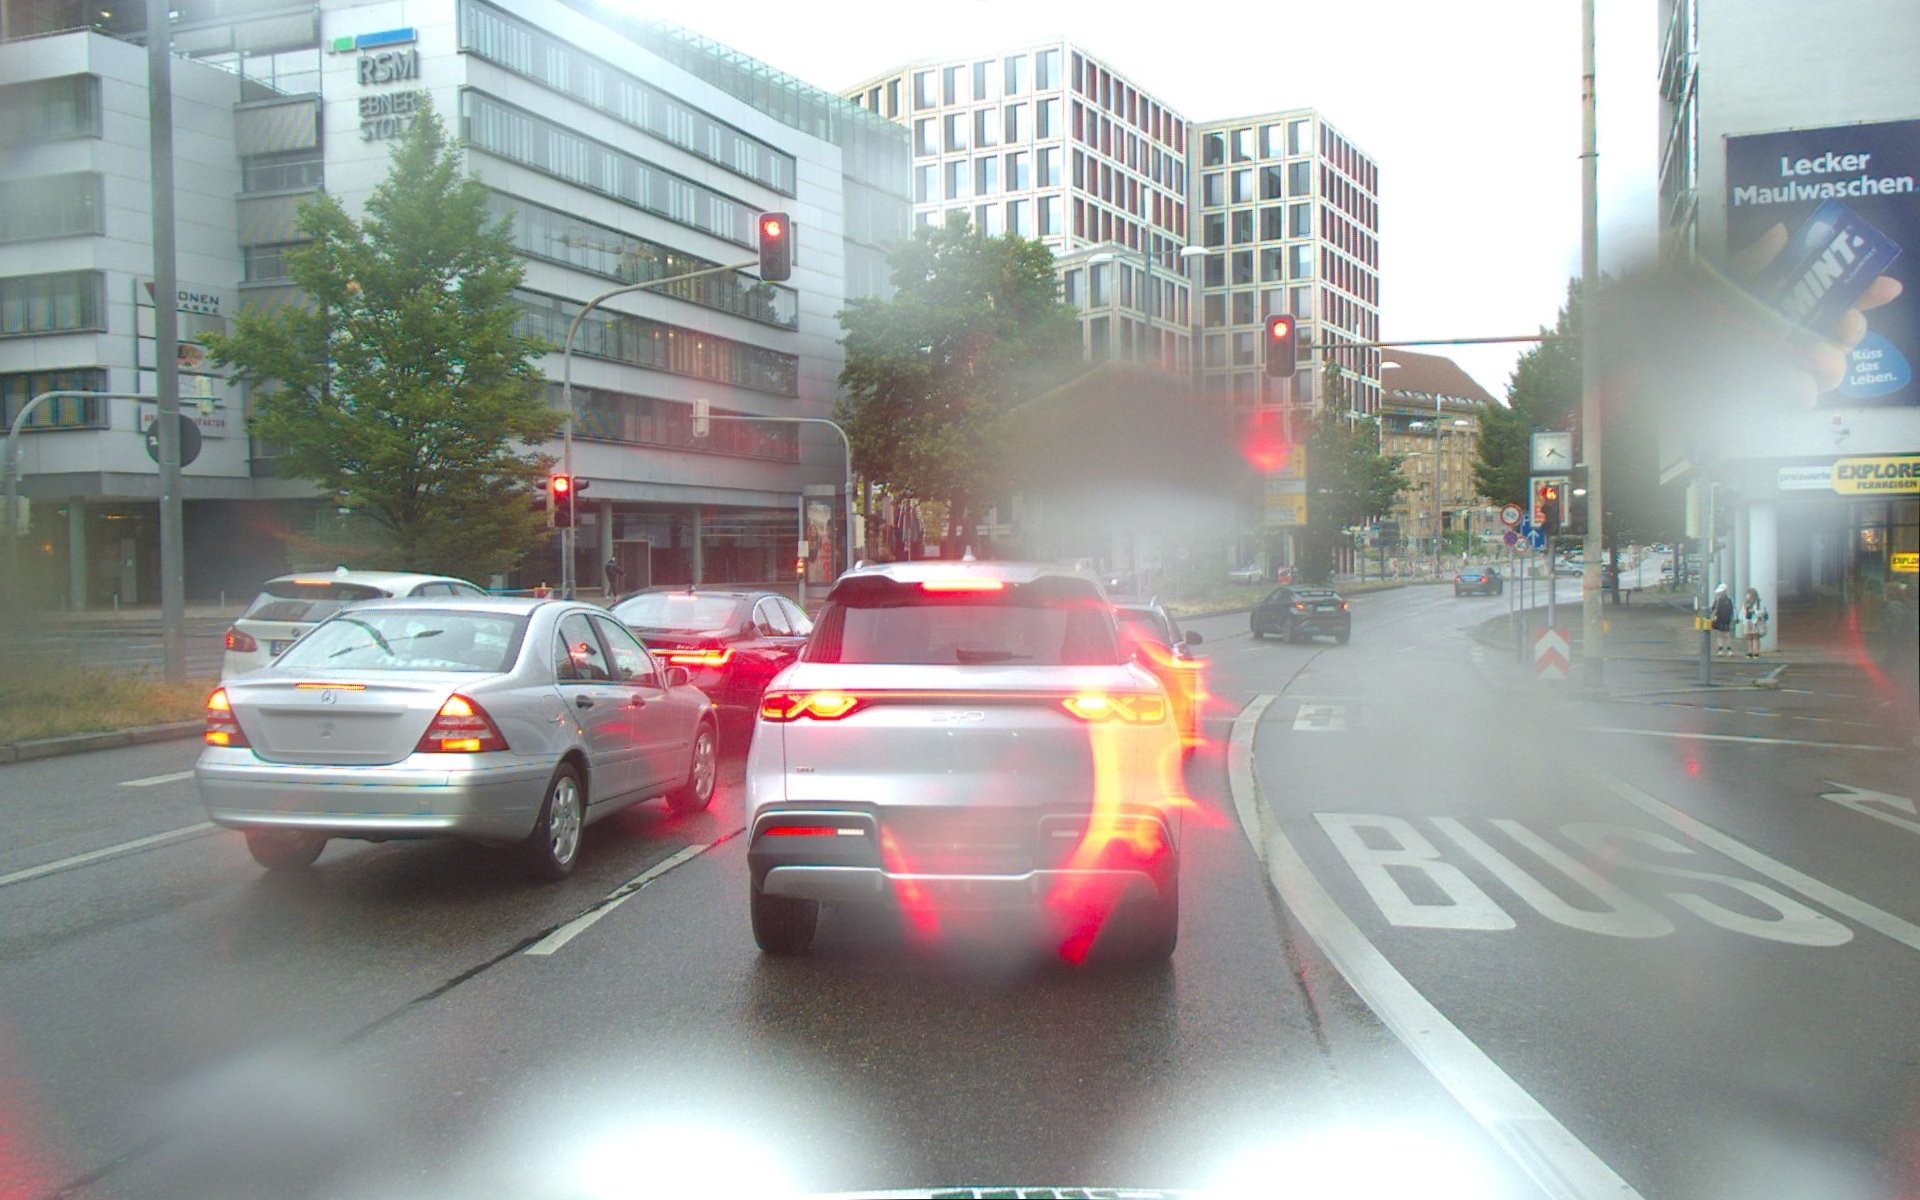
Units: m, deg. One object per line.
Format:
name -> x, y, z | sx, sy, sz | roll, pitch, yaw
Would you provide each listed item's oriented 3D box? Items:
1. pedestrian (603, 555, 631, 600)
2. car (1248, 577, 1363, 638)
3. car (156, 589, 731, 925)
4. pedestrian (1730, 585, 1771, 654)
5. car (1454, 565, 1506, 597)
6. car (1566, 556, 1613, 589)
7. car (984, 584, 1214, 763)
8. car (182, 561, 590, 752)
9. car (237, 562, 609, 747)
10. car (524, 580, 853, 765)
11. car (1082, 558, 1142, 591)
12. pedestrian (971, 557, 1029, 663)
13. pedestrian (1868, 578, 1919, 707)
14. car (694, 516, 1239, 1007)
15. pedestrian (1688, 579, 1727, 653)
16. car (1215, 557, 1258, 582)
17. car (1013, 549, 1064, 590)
pedestrian -> -13.474, -0.890, 64.942 | 0.712, 1.757, 0.925 | 0, 0, 21
car -> 9.556, 0.170, 46.080 | 1.955, 1.579, 3.995 | 1, 1, -7
car -> -2.691, 0.703, 9.726 | 1.646, 1.512, 4.200 | 0, 1, 7
pedestrian -> 17.992, 0.435, 37.641 | 0.712, 1.551, 0.760 | 0, 0, 15
car -> 26.381, -0.978, 83.810 | 1.873, 1.536, 4.352 | 2, 1, 26
car -> 36.158, -1.566, 94.967 | 2.008, 1.796, 4.351 | 2, 1, 28
car -> 1.527, 0.628, 16.657 | 1.913, 1.556, 4.004 | 0, 1, 11
car -> -5.364, 0.447, 16.132 | 1.745, 1.601, 4.291 | 0, 1, 13
car -> -5.229, 0.457, 16.728 | 1.844, 1.624, 4.004 | 0, 1, 11
car -> -2.464, 0.588, 16.119 | 1.913, 1.556, 4.004 | 0, 1, 11
car -> 8.613, -1.472, 93.286 | 1.956, 1.735, 3.995 | 1, 3, 29
pedestrian -> 0.672, 0.158, 28.006 | 0.904, 1.768, 0.729 | 0, 0, -5
pedestrian -> 13.590, 0.599, 23.781 | 0.795, 1.830, 0.711 | 0, 0, 15
car -> 0.109, 0.553, 8.237 | 1.952, 1.739, 4.484 | 1, 1, 2
pedestrian -> 17.281, 0.362, 38.266 | 0.712, 1.698, 0.691 | 0, -1, 15
car -> 20.163, -2.232, 120.503 | 1.955, 1.735, 4.305 | 1, 2, 26
car -> 4.368, -1.651, 91.241 | 1.701, 2.199, 4.496 | 1, 1, 17
